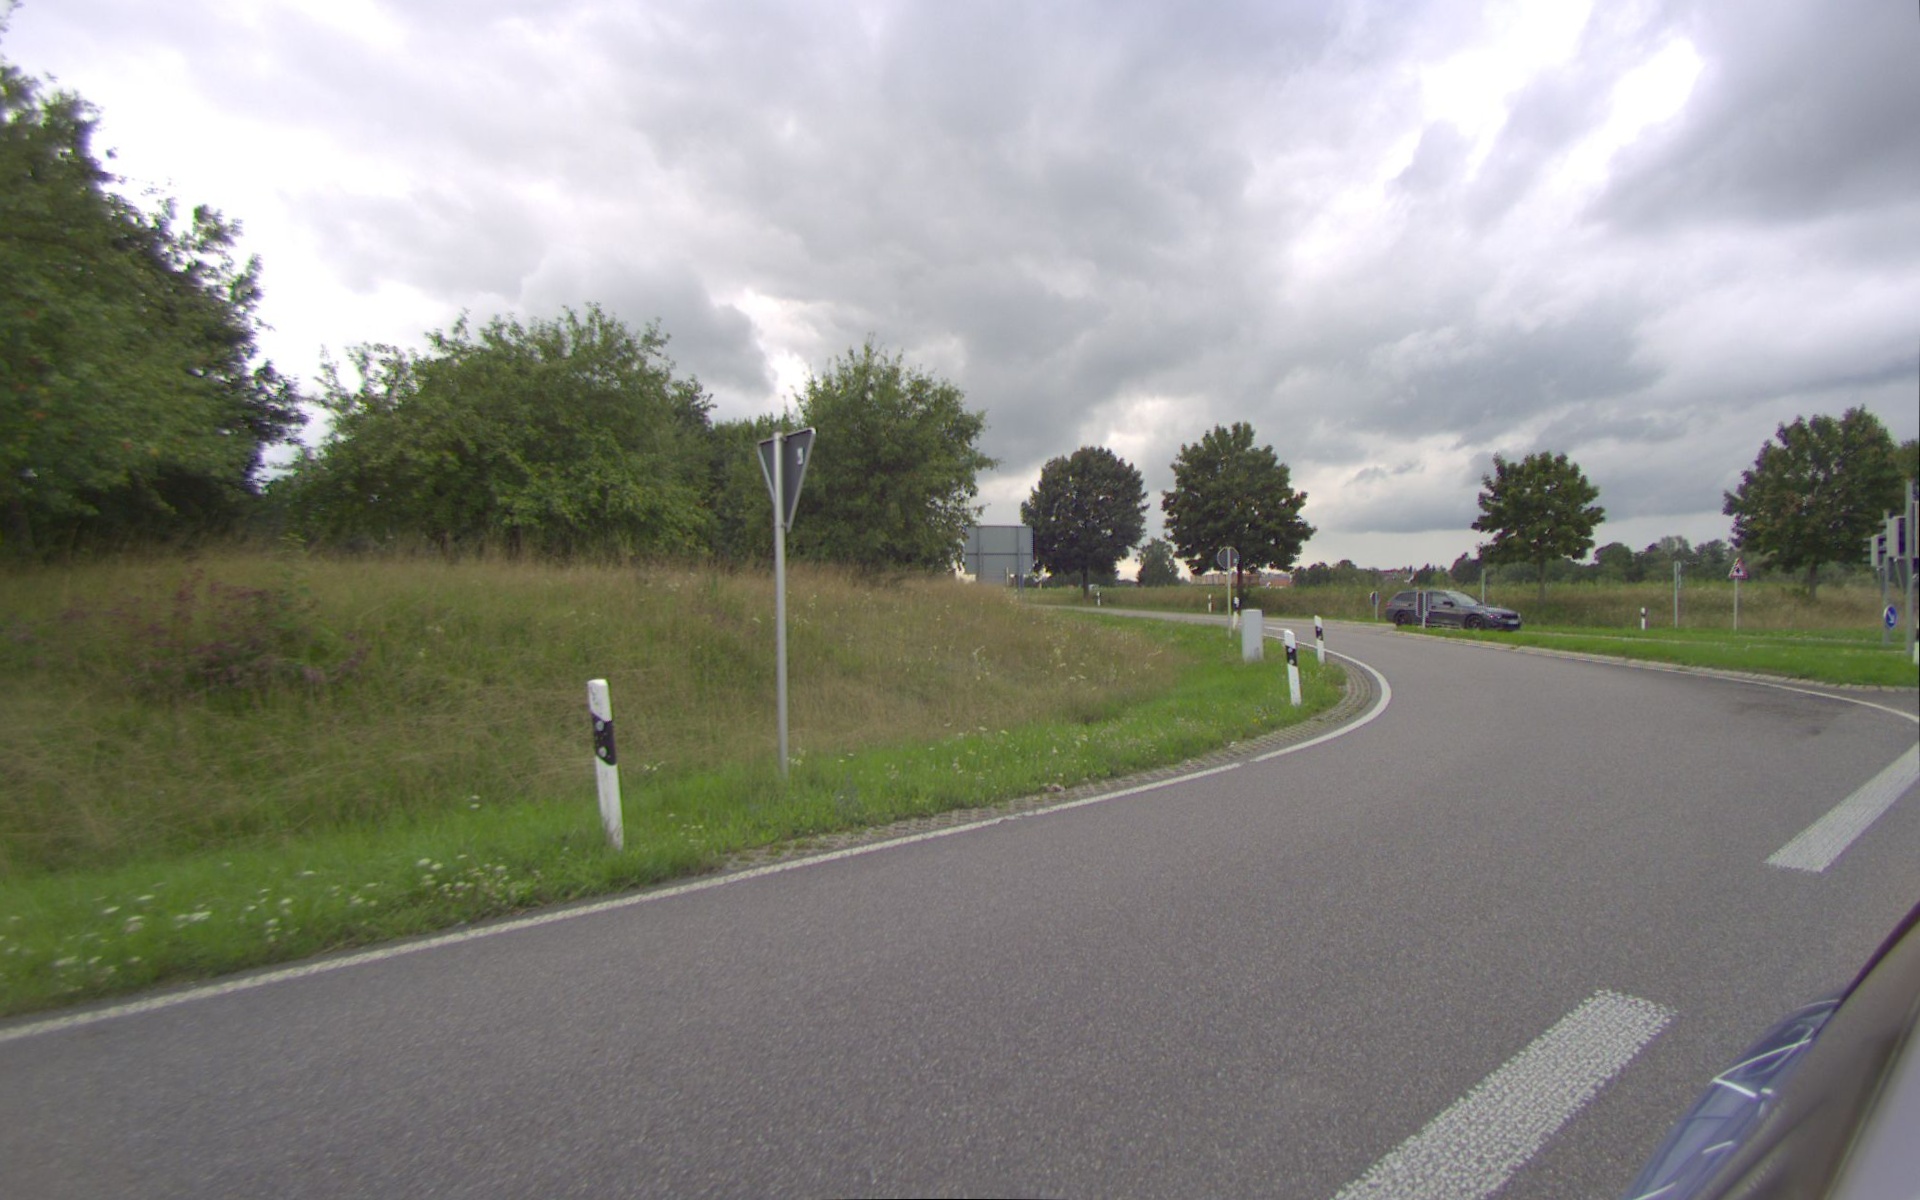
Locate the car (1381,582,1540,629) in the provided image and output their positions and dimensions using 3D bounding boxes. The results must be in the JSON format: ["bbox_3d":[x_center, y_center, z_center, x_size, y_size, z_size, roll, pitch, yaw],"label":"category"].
[{"bbox_3d":[17.351,0.151,35.321,1.960,1.522,4.671,0,1,-31],"label":"car"}]
